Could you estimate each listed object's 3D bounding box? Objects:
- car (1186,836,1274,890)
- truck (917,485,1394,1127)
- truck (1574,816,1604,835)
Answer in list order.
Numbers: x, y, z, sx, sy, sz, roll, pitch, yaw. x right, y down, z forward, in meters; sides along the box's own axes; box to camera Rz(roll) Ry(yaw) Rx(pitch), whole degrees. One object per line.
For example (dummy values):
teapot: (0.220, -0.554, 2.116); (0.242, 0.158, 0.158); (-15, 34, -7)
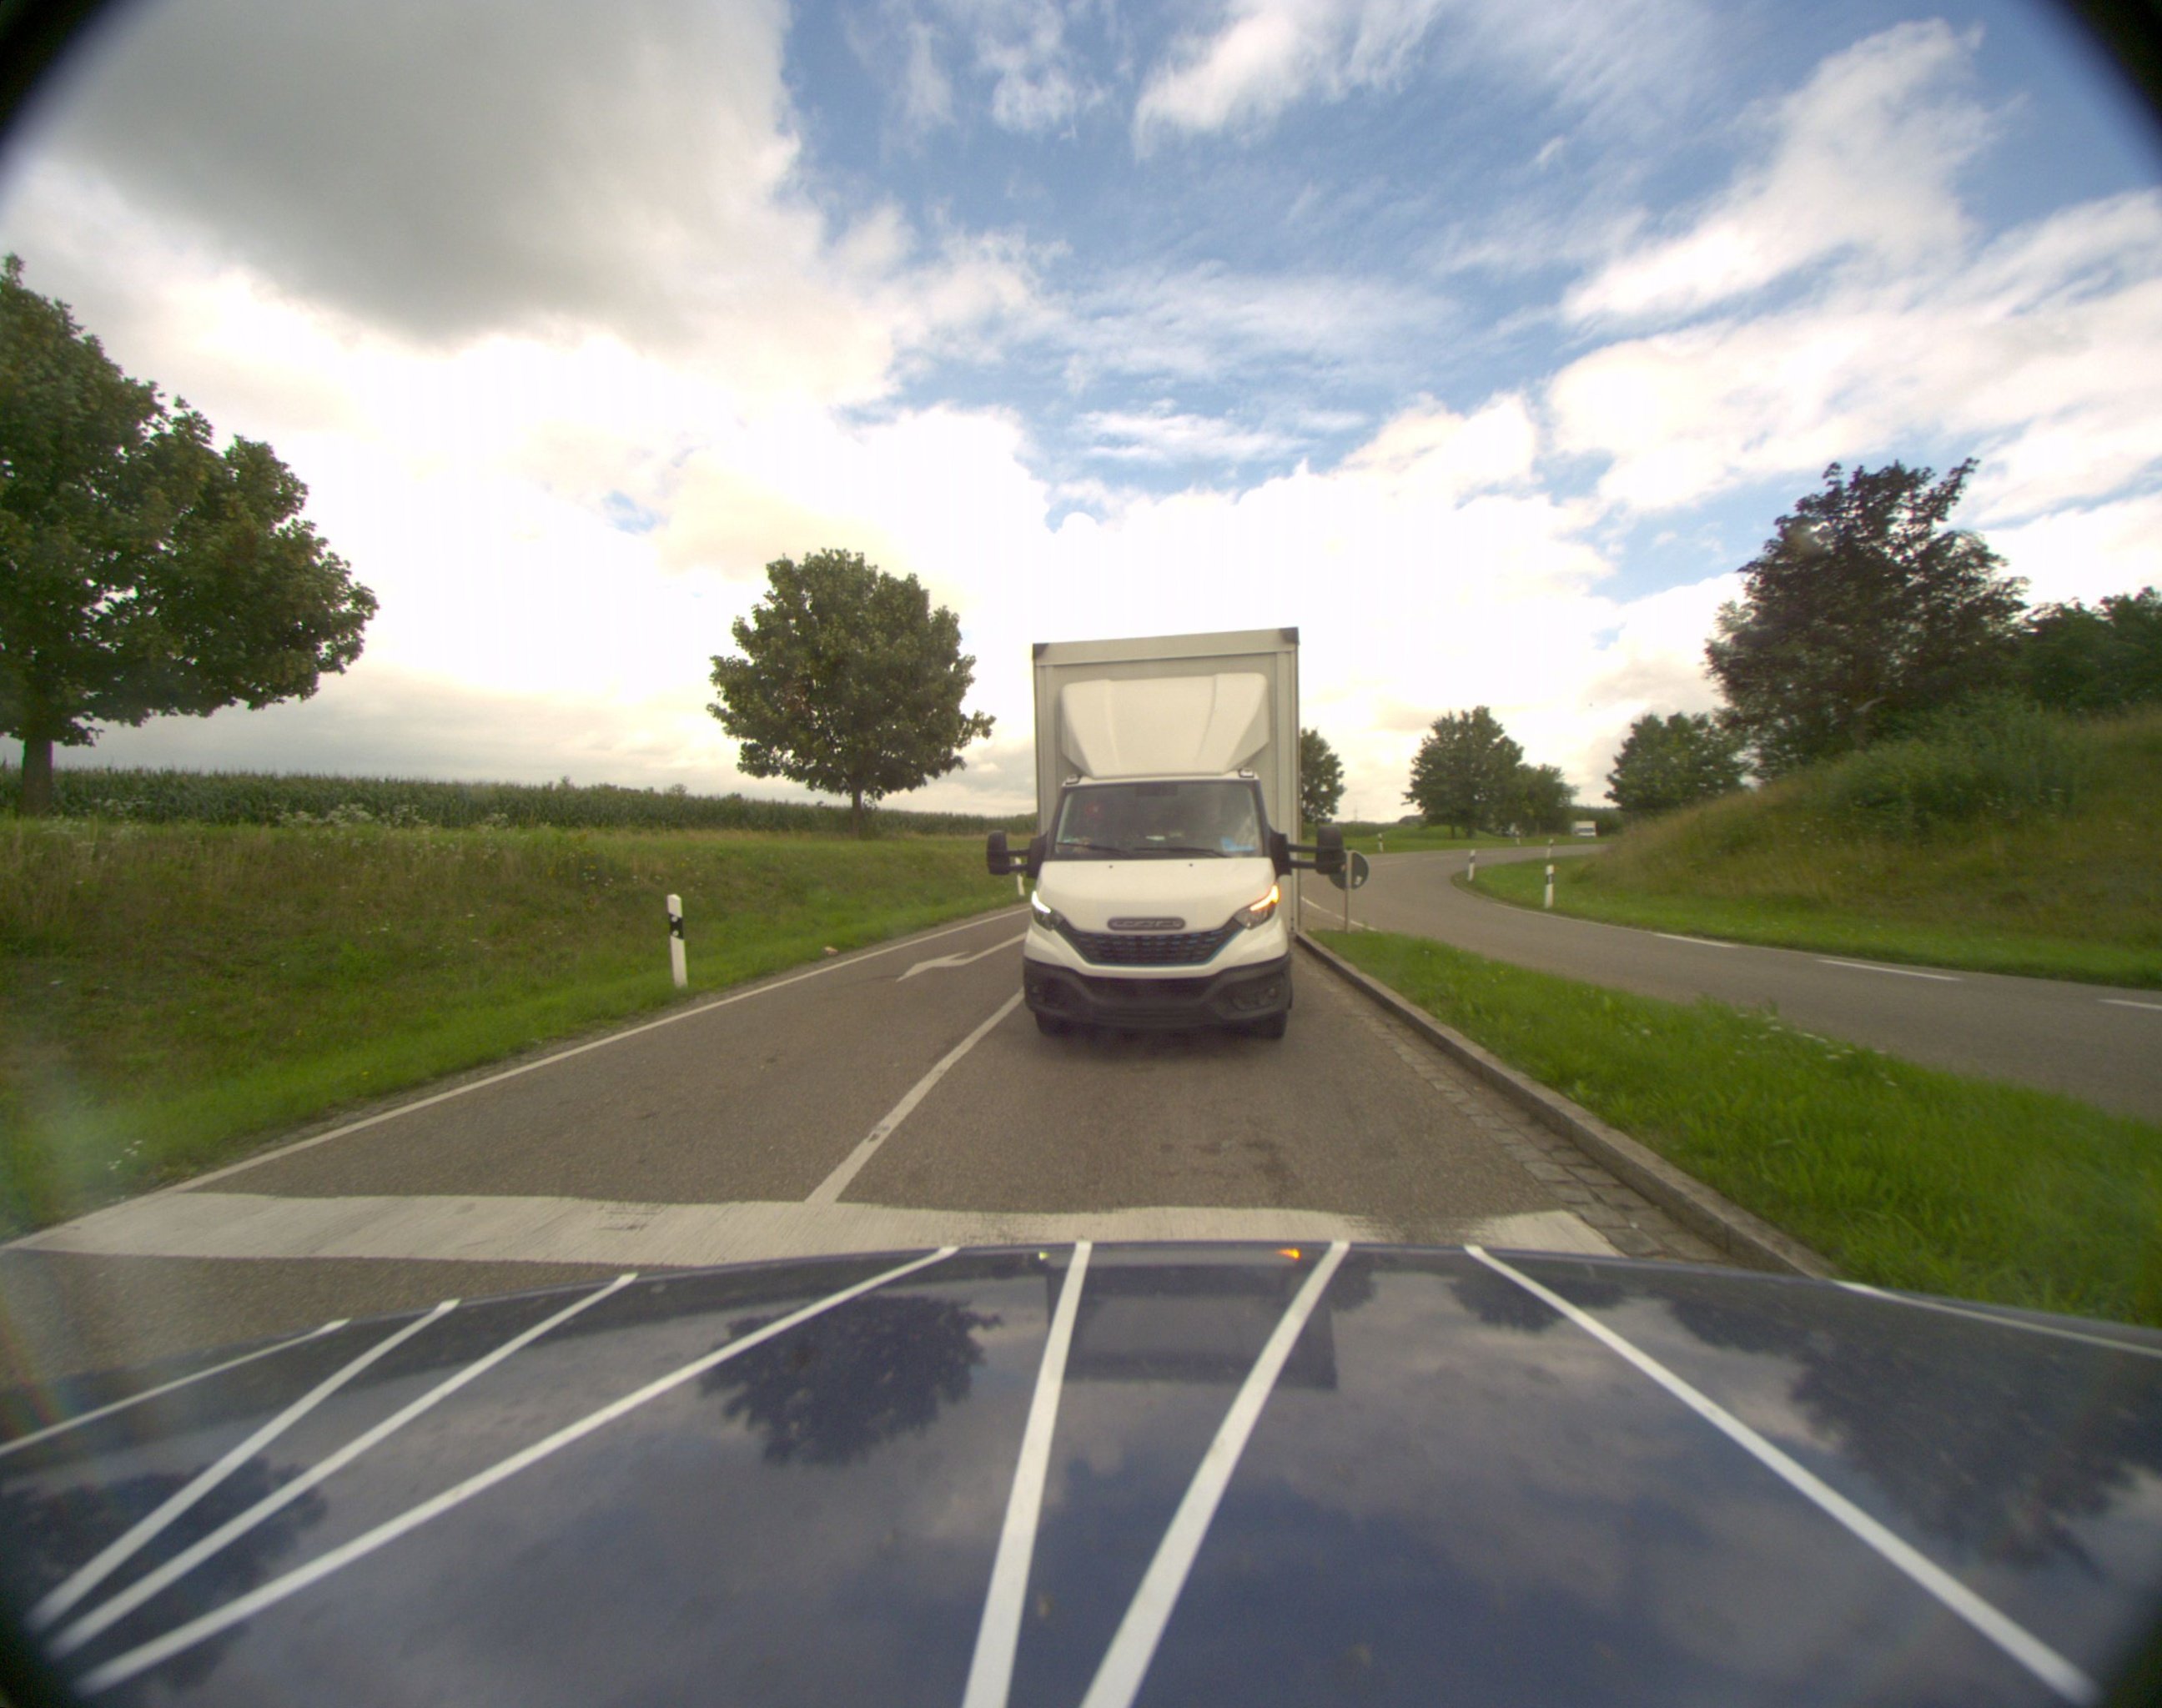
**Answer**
car: (4.507, 0.240, 22.549); (1.806, 1.444, 4.006); (-1, 0, 22)
truck: (0.958, -0.383, 8.971); (2.835, 3.743, 8.802); (0, 2, 7)
truck: (66.958, -3.704, 100.290); (2.286, 2.407, 6.391); (0, 2, 24)
